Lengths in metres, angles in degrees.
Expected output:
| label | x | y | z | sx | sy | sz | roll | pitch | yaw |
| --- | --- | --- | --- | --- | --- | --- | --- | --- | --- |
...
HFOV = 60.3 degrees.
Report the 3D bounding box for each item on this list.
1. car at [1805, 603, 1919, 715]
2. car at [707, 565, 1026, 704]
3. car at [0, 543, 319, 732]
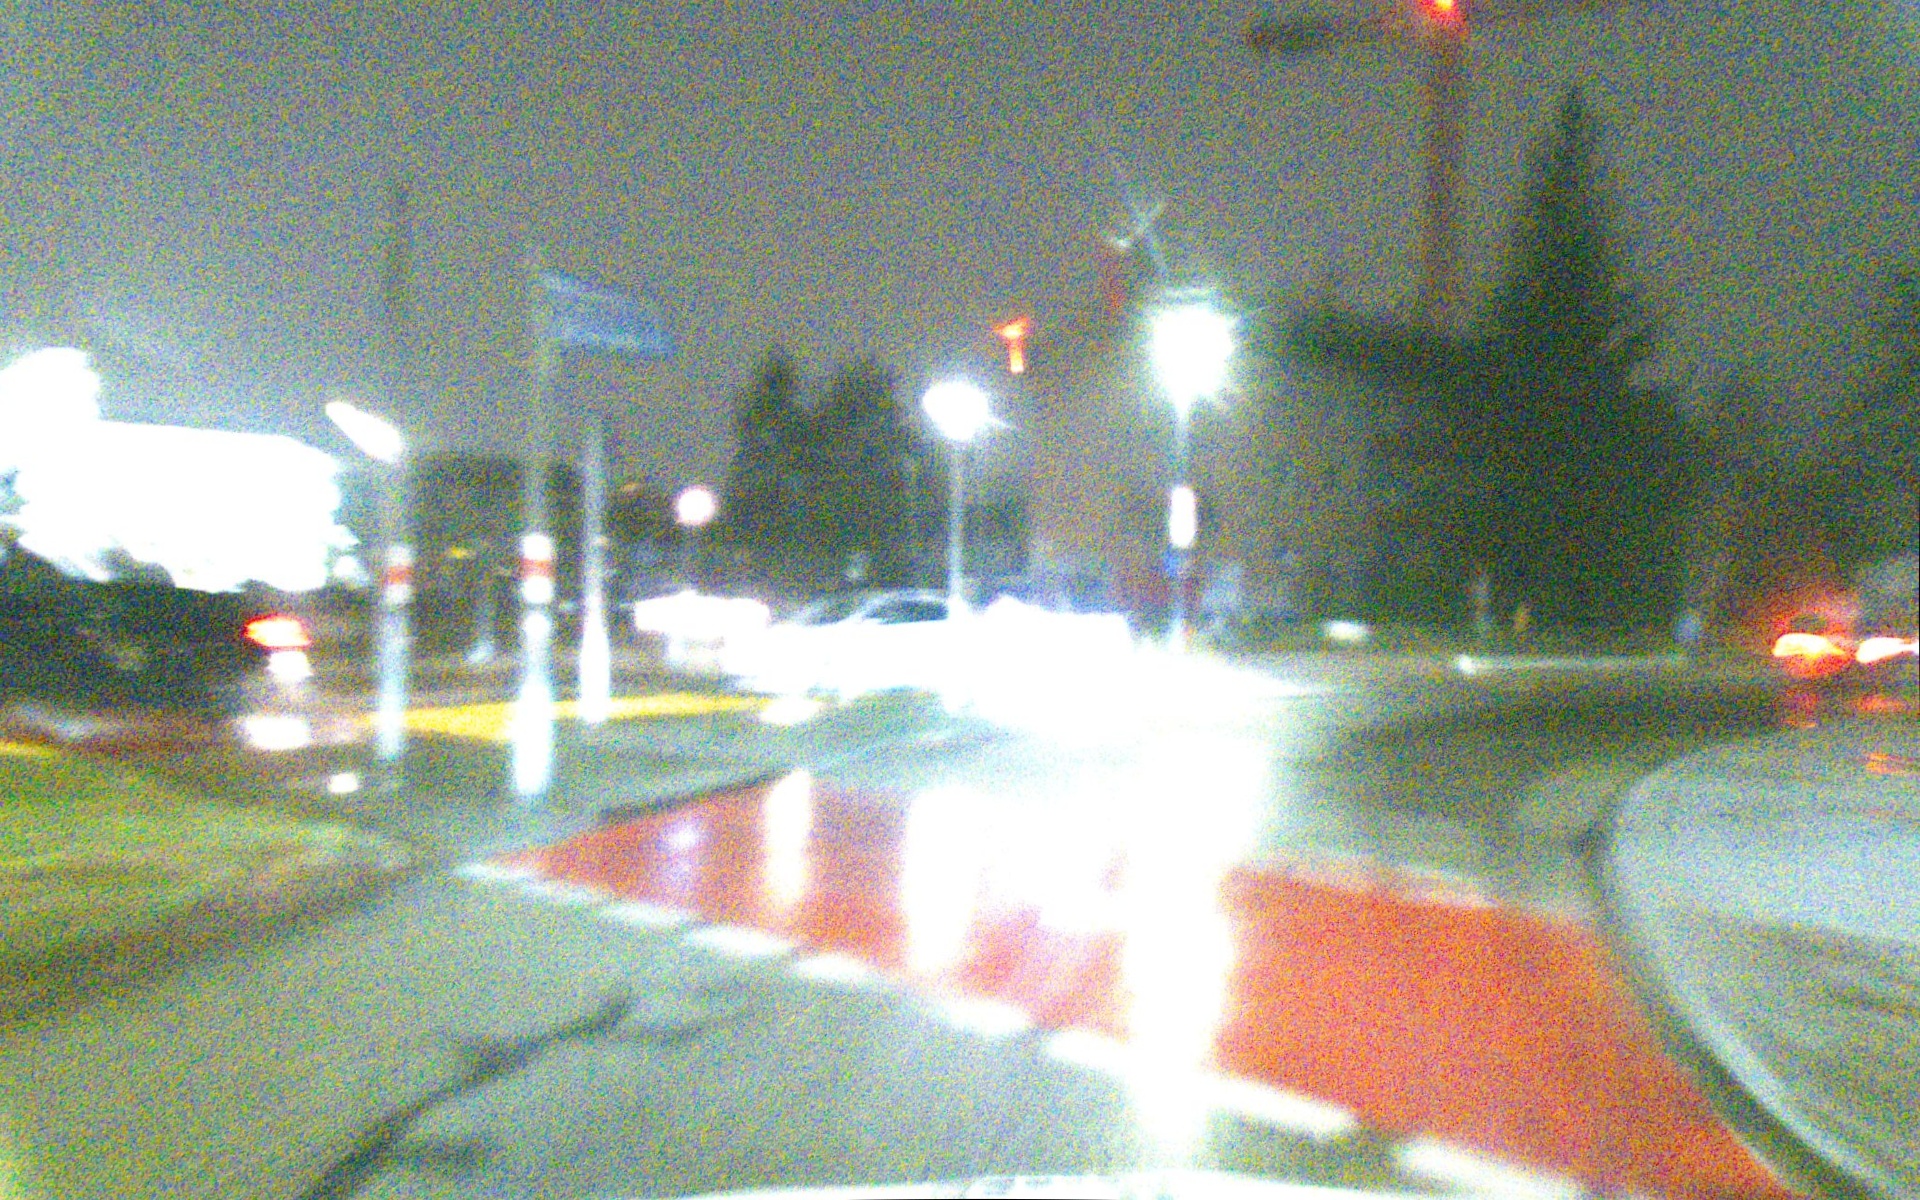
| label | x | y | z | sx | sy | sz | roll | pitch | yaw |
| --- | --- | --- | --- | --- | --- | --- | --- | --- | --- |
| car | 18.840 | 1.145 | 34.009 | 1.960 | 2.048 | 4.542 | 3 | 1 | 35 |
| car | -1.289 | 0.485 | 23.937 | 4.353 | 1.788 | 1.851 | 1 | 1 | -41 |
| car | -9.128 | 0.330 | 16.701 | 4.571 | 1.766 | 1.974 | 1 | 1 | -38 |
